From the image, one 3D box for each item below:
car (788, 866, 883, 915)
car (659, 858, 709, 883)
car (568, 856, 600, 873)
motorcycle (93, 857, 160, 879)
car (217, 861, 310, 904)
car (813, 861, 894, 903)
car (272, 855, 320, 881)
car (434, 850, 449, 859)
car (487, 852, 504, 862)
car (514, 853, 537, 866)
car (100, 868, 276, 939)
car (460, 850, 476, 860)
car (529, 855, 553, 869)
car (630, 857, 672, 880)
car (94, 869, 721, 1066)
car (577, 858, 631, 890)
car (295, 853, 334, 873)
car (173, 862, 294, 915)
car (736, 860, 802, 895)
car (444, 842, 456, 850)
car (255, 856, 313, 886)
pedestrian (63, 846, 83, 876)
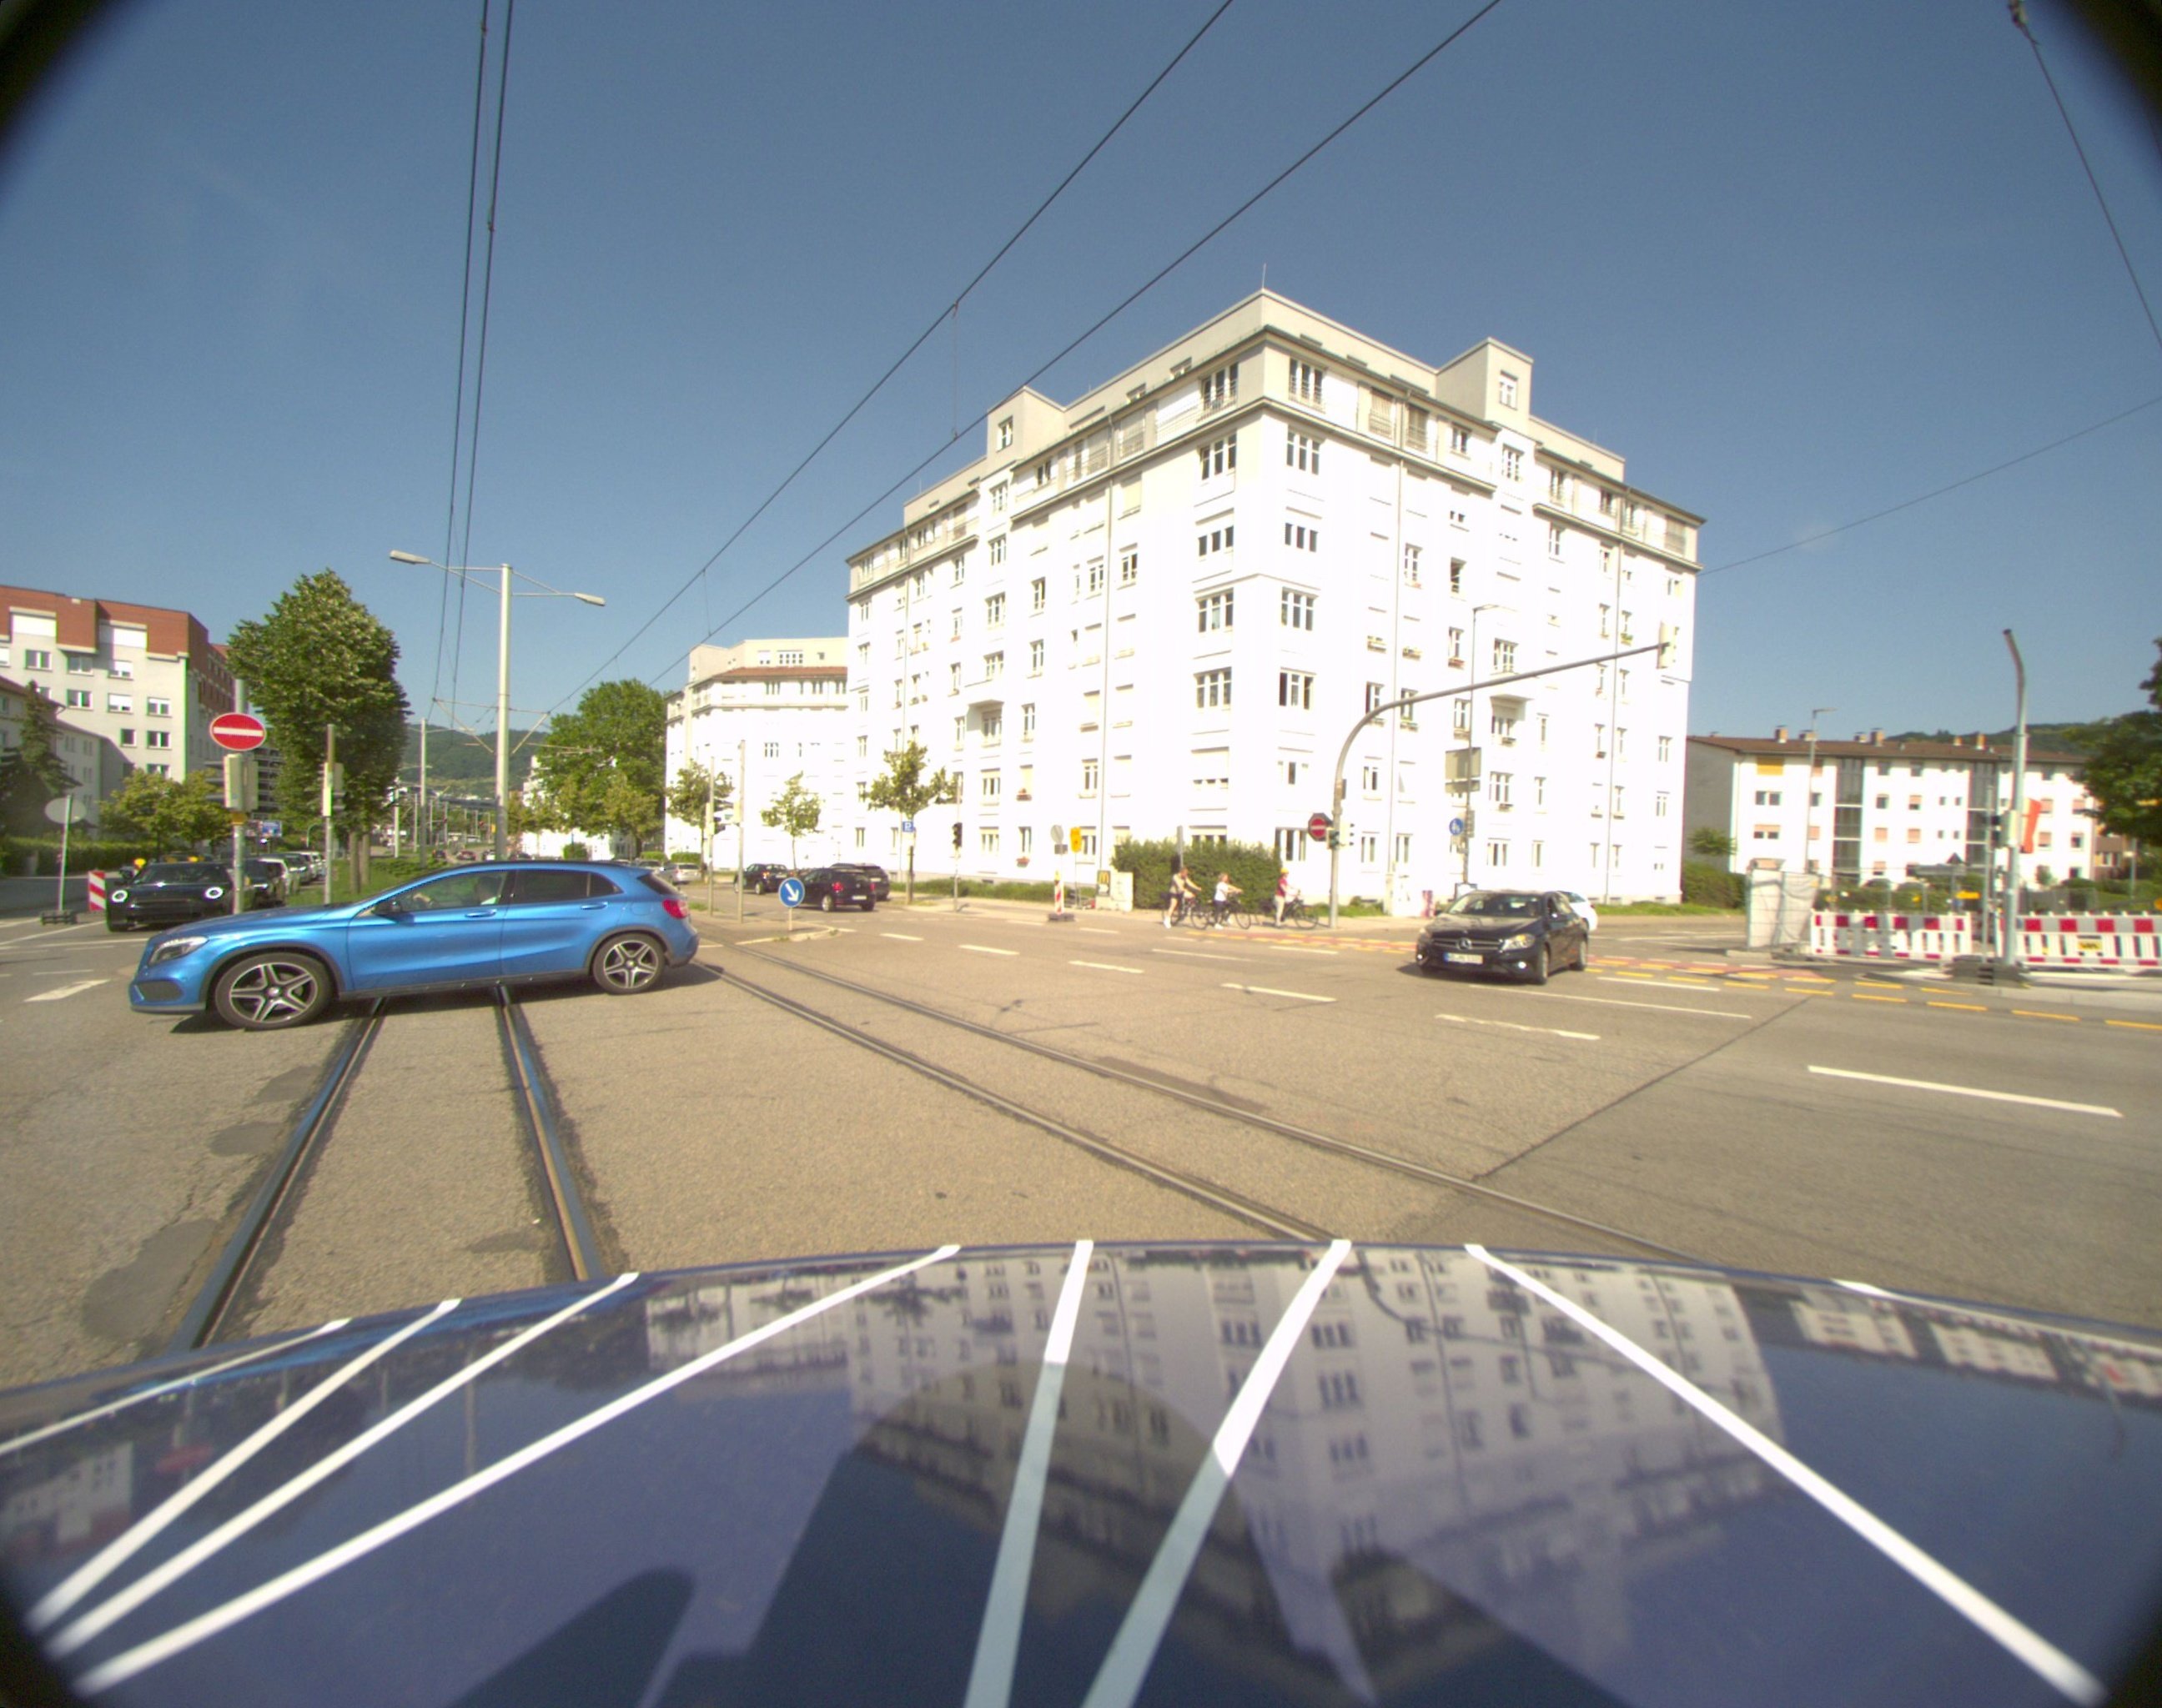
[{"bbox_3d":[-8.462,1.203,26.053,1.598,1.484,3.651,2,-1,-44],"label":"car"},{"bbox_3d":[-24.451,0.989,46.760,1.744,1.476,3.729,0,0,-43],"label":"car"},{"bbox_3d":[-43.971,0.889,67.142,1.744,1.476,3.729,0,0,-43],"label":"car"},{"bbox_3d":[-53.084,0.775,42.297,2.183,1.159,0.742,1,0,-37],"label":"motorcycle"},{"bbox_3d":[-28.796,0.947,26.879,1.772,1.346,3.988,-1,0,-40],"label":"car"},{"bbox_3d":[-9.542,1.116,31.715,1.744,1.628,3.729,0,0,-43],"label":"car"},{"bbox_3d":[-43.292,0.765,41.902,3.988,1.346,1.772,0,1,43],"label":"car"},{"bbox_3d":[-102.966,0.033,122.259,1.802,1.476,3.729,0,0,-41],"label":"car"},{"bbox_3d":[-85.082,0.428,110.385,1.744,1.476,3.729,1,0,-41],"label":"car"},{"bbox_3d":[-65.937,0.592,90.146,1.744,1.476,3.729,0,0,-43],"label":"car"},{"bbox_3d":[-20.001,1.019,17.233,1.771,1.313,3.989,0,0,-37],"label":"car"},{"bbox_3d":[-93.420,0.193,115.752,1.802,1.476,3.729,0,0,-41],"label":"car"},{"bbox_3d":[-60.114,0.902,84.545,1.744,1.476,3.729,0,0,-43],"label":"car"},{"bbox_3d":[-29.945,0.975,52.863,1.744,1.476,3.729,0,0,-43],"label":"car"},{"bbox_3d":[-6.482,0.937,8.042,4.559,1.472,1.672,0,0,-39],"label":"car"},{"bbox_3d":[-24.478,0.997,38.960,1.701,1.546,3.645,1,0,-42],"label":"car"},{"bbox_3d":[-51.820,0.577,51.335,3.988,1.346,1.772,0,1,43],"label":"car"},{"bbox_3d":[-24.765,0.952,22.348,1.772,1.346,3.989,-1,0,-39],"label":"car"},{"bbox_3d":[-15.561,1.126,37.808,3.729,1.628,1.744,1,0,45],"label":"car"},{"bbox_3d":[-127.679,-1.609,153.685,1.802,1.672,3.729,0,0,-41],"label":"car"},{"bbox_3d":[-38.401,0.803,36.688,1.772,1.346,3.988,-1,1,-44],"label":"car"},{"bbox_3d":[-59.455,0.420,44.813,0.750,1.753,0.600,1,0,45],"label":"pedestrian"}]
